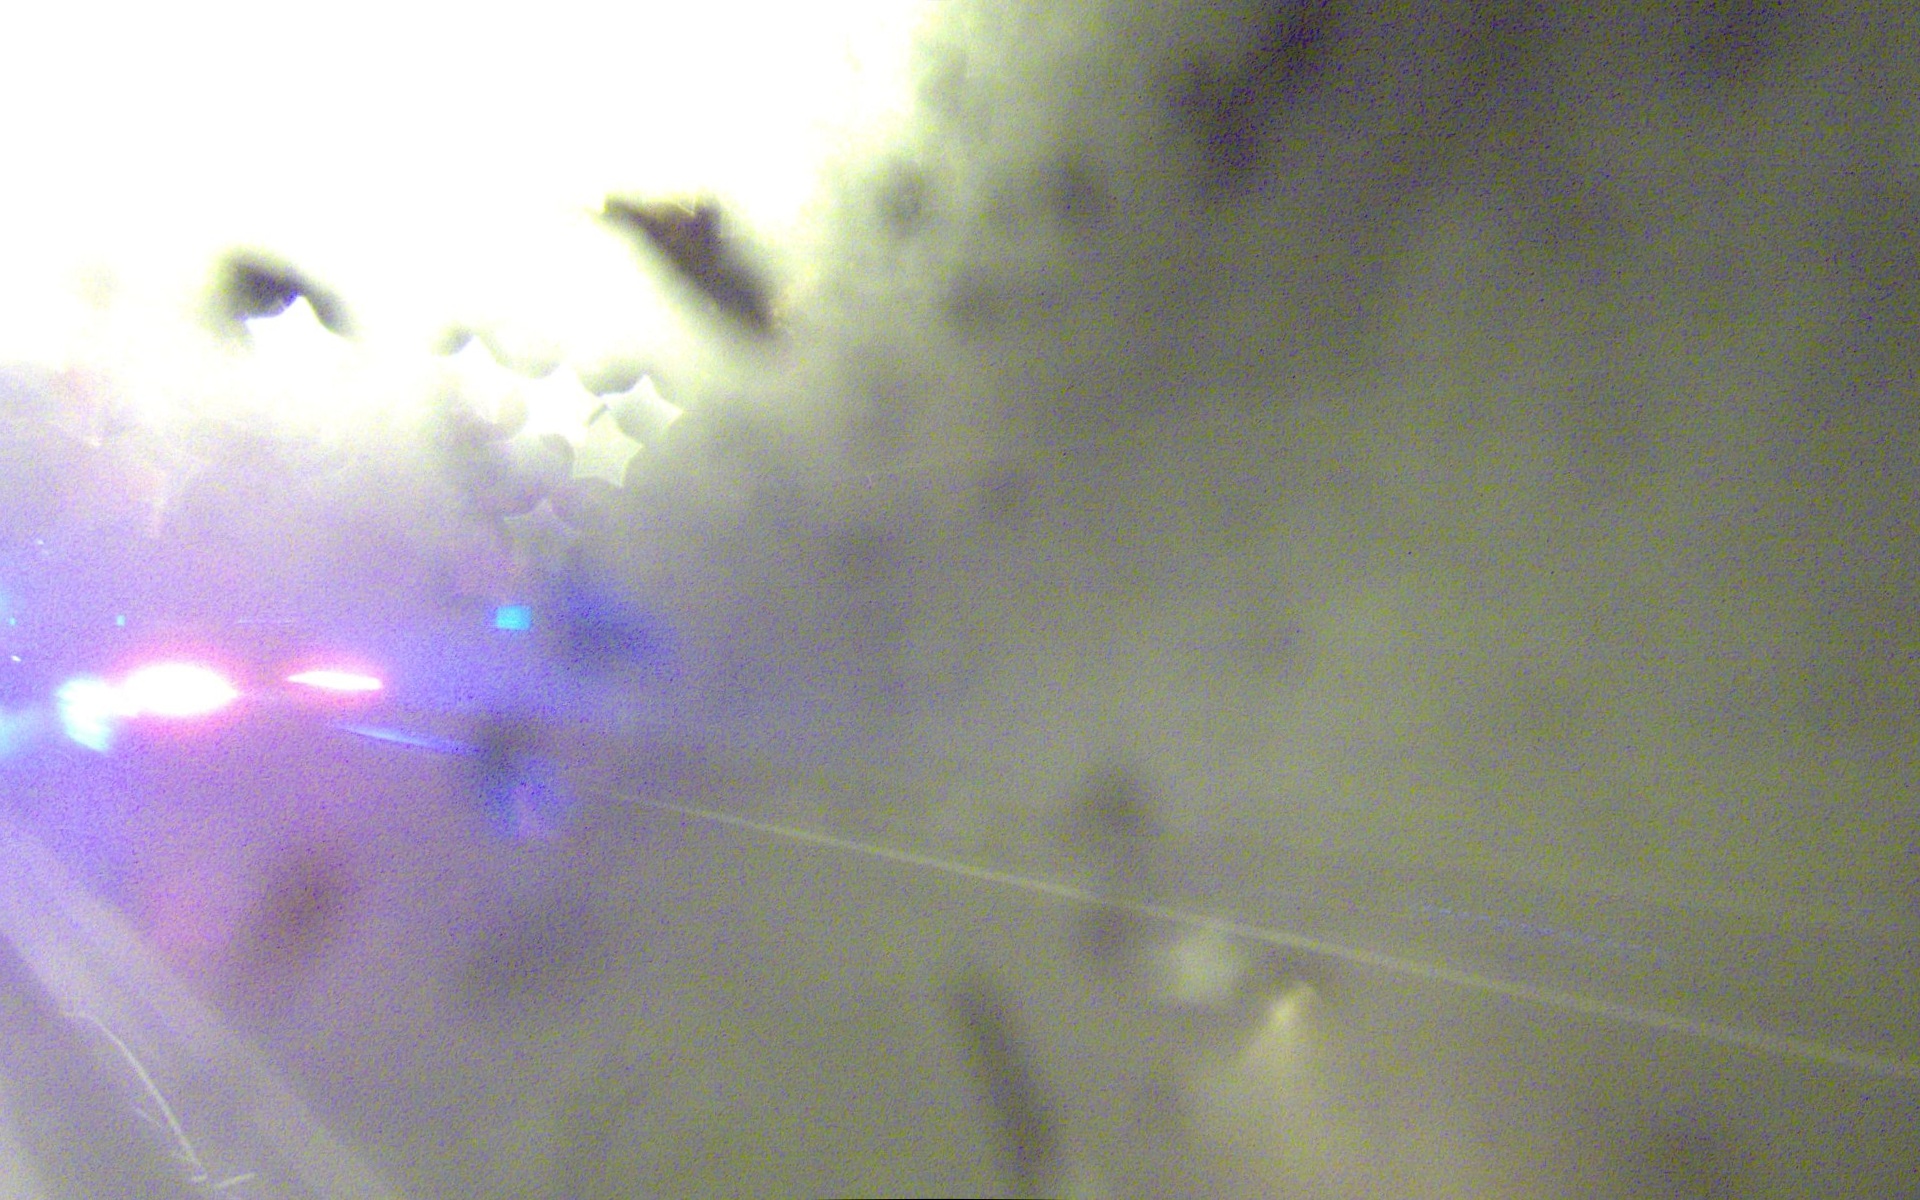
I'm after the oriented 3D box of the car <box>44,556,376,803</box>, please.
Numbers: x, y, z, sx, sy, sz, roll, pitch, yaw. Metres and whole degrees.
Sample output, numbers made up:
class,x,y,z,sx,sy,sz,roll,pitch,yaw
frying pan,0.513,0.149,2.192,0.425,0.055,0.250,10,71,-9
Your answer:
class,x,y,z,sx,sy,sz,roll,pitch,yaw
car,-7.590,0.686,10.050,4.606,1.914,1.742,-2,-2,42
